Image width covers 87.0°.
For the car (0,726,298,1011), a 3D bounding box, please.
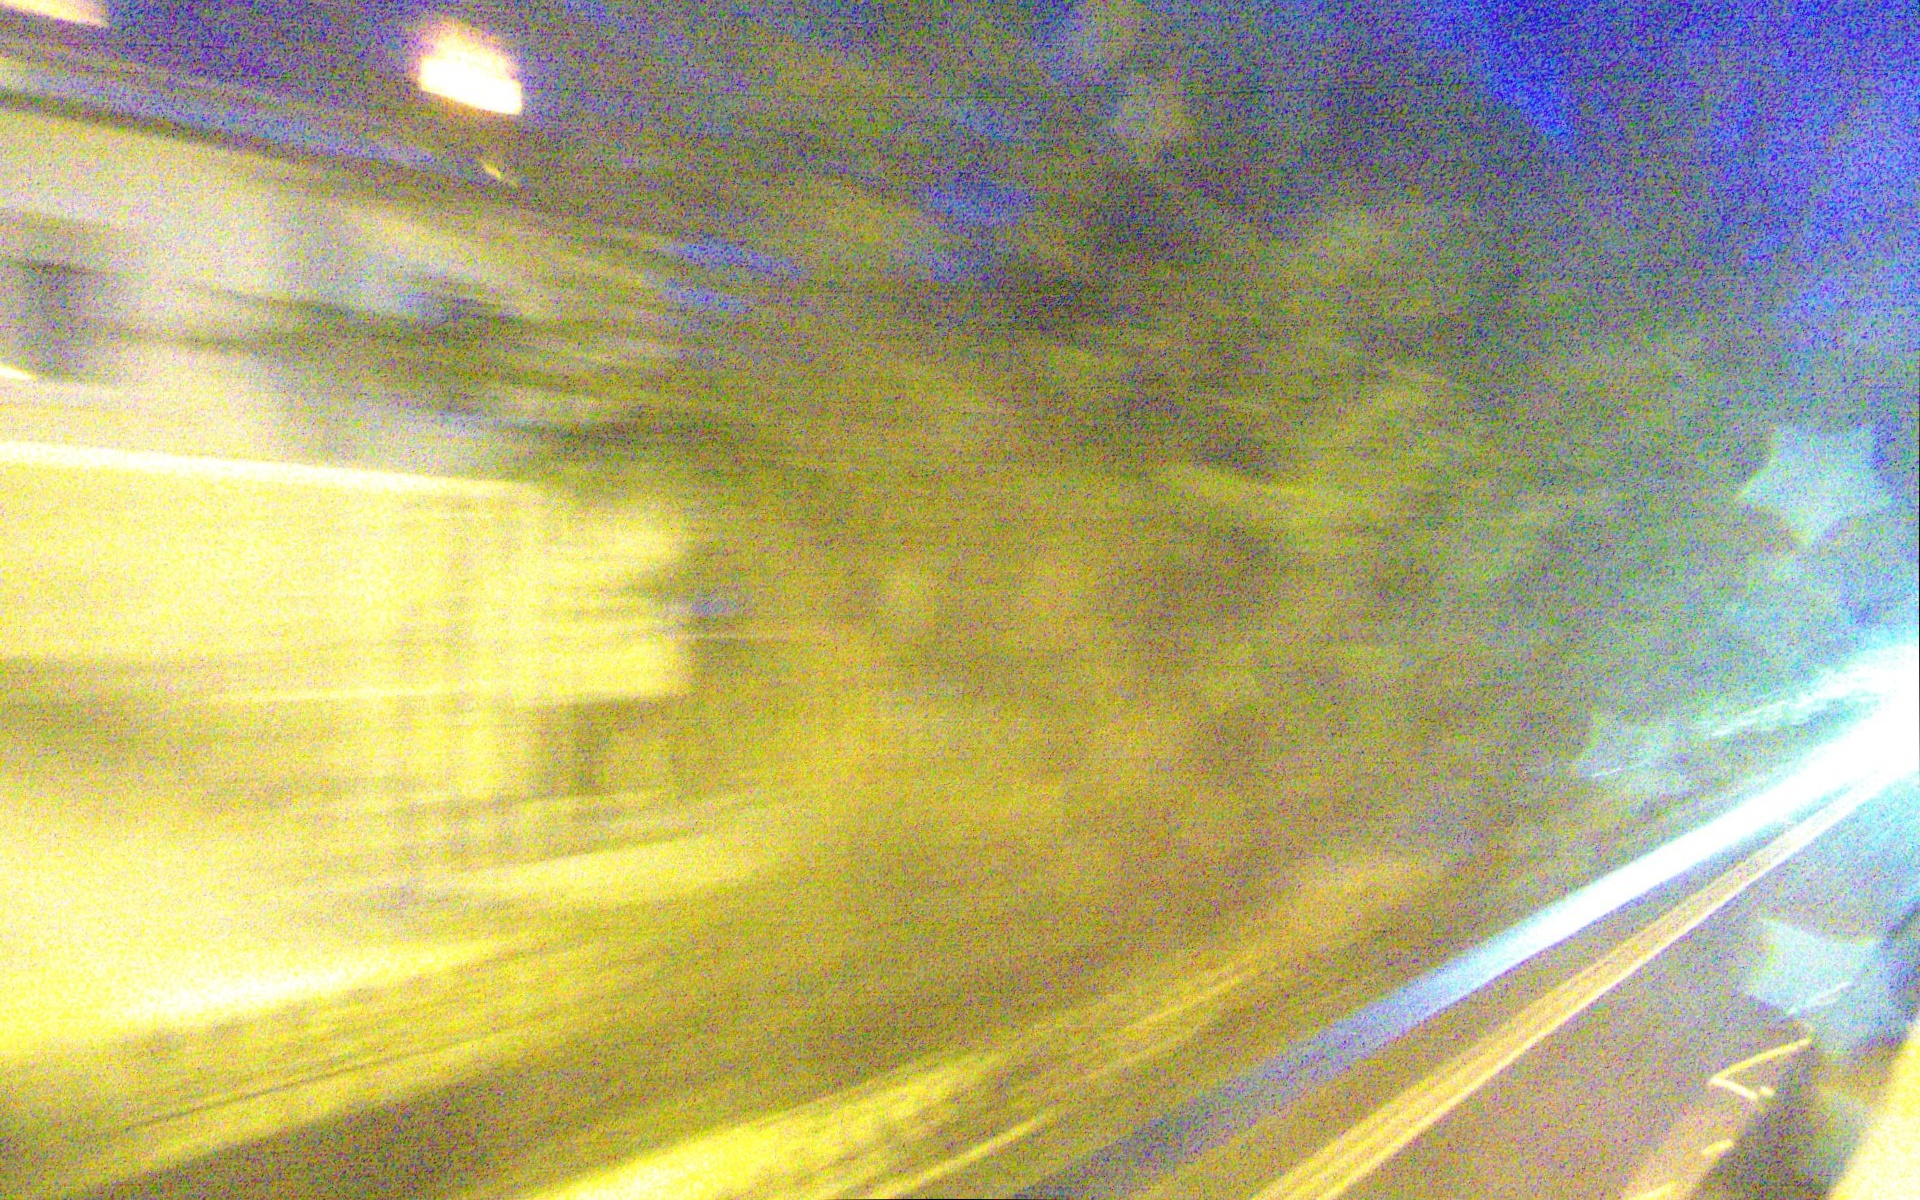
[{"bbox_3d":[-6.788,1.830,7.013,3.603,1.529,1.642,2,1,-32],"label":"car"}]
